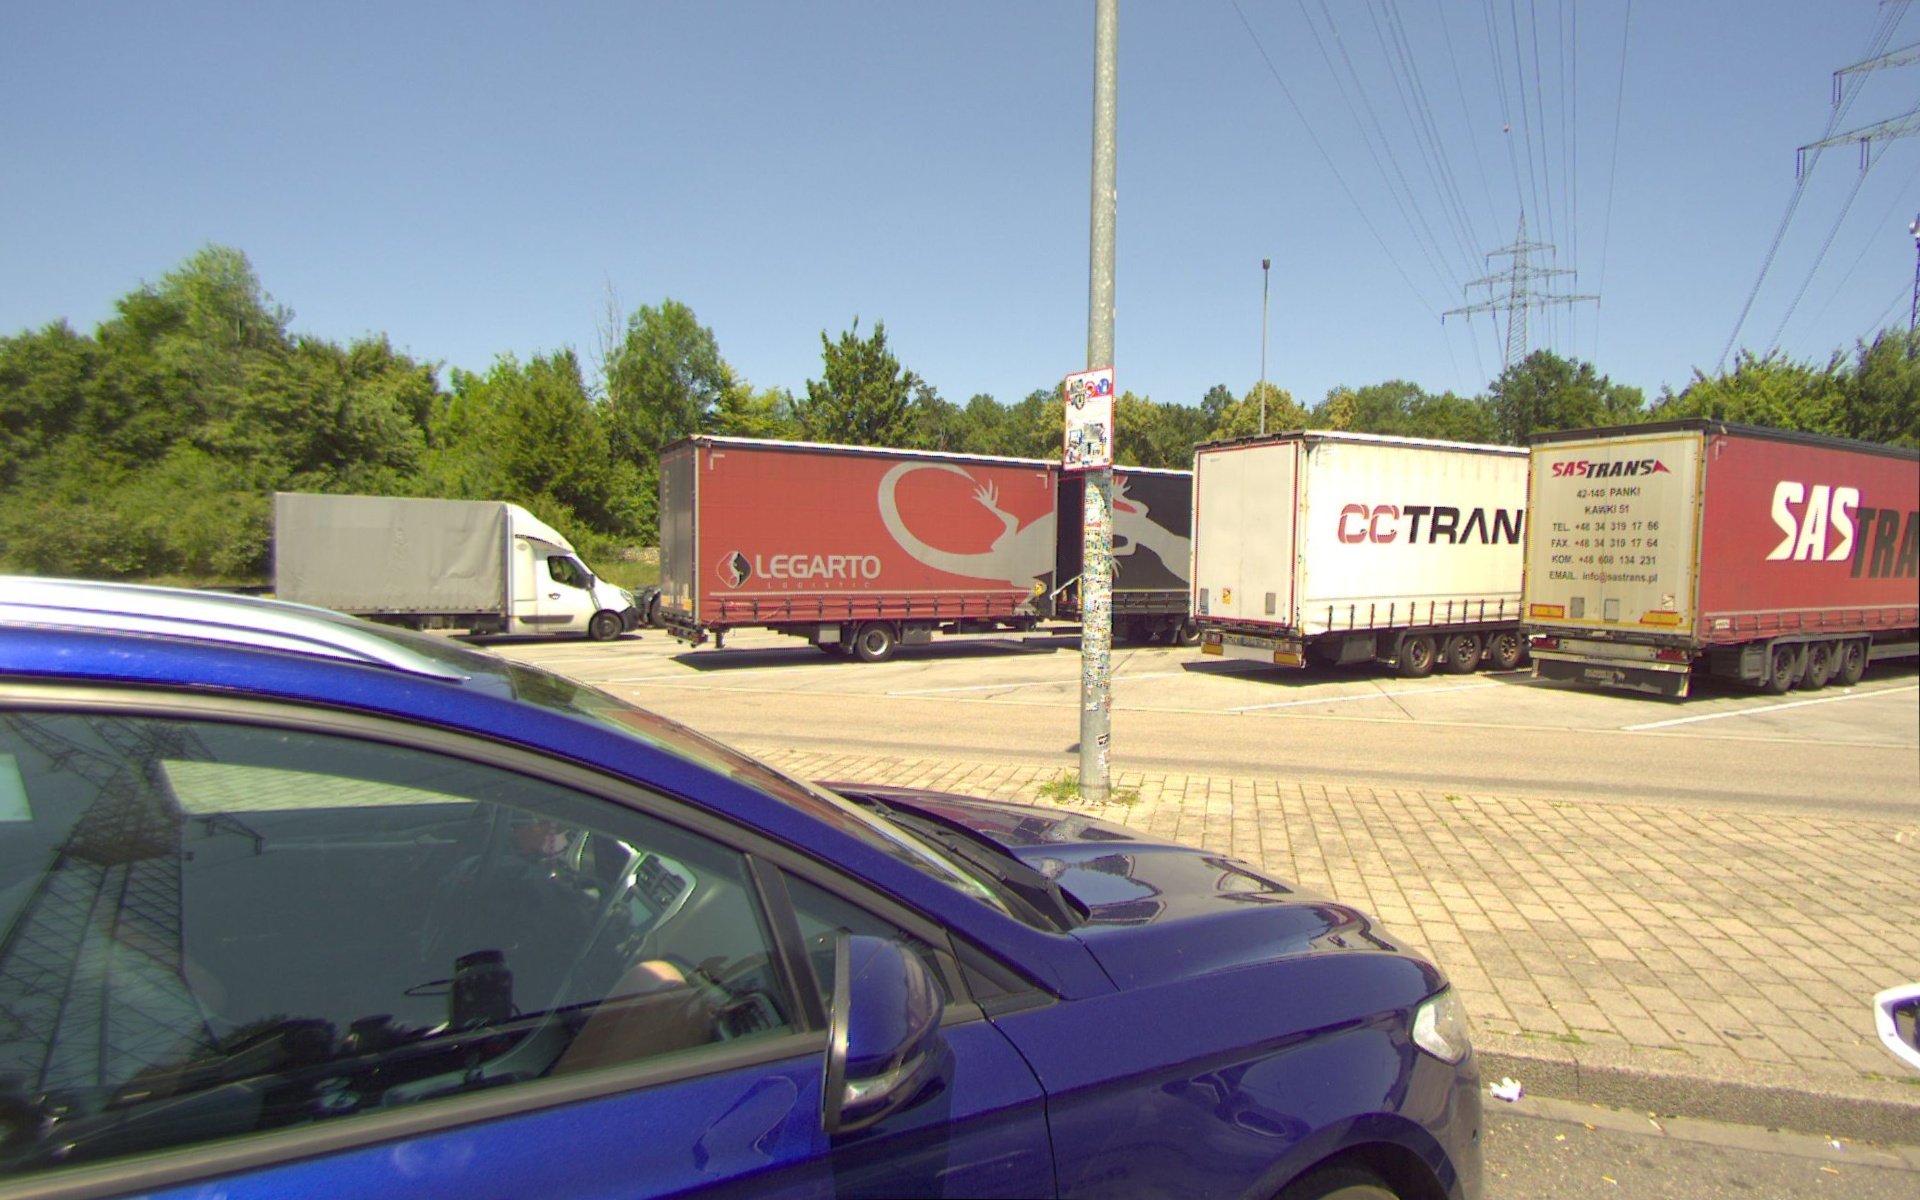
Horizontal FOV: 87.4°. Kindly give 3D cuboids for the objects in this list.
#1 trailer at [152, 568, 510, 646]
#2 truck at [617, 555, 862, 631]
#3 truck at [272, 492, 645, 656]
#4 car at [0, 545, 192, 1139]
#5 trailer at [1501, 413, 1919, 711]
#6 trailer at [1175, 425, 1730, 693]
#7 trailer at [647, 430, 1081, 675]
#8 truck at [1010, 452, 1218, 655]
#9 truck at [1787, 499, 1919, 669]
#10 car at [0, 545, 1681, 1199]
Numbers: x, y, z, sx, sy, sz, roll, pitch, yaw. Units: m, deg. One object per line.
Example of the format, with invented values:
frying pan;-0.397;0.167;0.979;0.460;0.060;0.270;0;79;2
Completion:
trailer;-15.172;0.067;24.896;7.204;1.711;2.249;-1;3;-29
truck;-6.354;-0.219;29.274;6.733;2.041;1.987;-1;1;-26
truck;-11.197;-0.614;23.026;7.204;3.279;2.727;-1;3;-29
car;-4.623;0.606;2.226;4.444;1.520;1.762;0;2;-32
trailer;15.598;-0.685;18.722;13.962;4.141;2.777;-1;3;-30
trailer;10.578;-0.793;20.334;13.962;4.141;2.782;-1;3;-30
trailer;-1.751;-0.892;20.328;8.376;4.141;2.722;-1;3;-30
truck;3.562;-1.057;23.449;3.947;4.298;2.723;-1;3;-30
truck;21.201;-0.387;21.999;5.829;3.373;2.837;-1;3;-30
car;-1.047;0.683;1.493;4.444;1.511;1.859;0;2;-32
